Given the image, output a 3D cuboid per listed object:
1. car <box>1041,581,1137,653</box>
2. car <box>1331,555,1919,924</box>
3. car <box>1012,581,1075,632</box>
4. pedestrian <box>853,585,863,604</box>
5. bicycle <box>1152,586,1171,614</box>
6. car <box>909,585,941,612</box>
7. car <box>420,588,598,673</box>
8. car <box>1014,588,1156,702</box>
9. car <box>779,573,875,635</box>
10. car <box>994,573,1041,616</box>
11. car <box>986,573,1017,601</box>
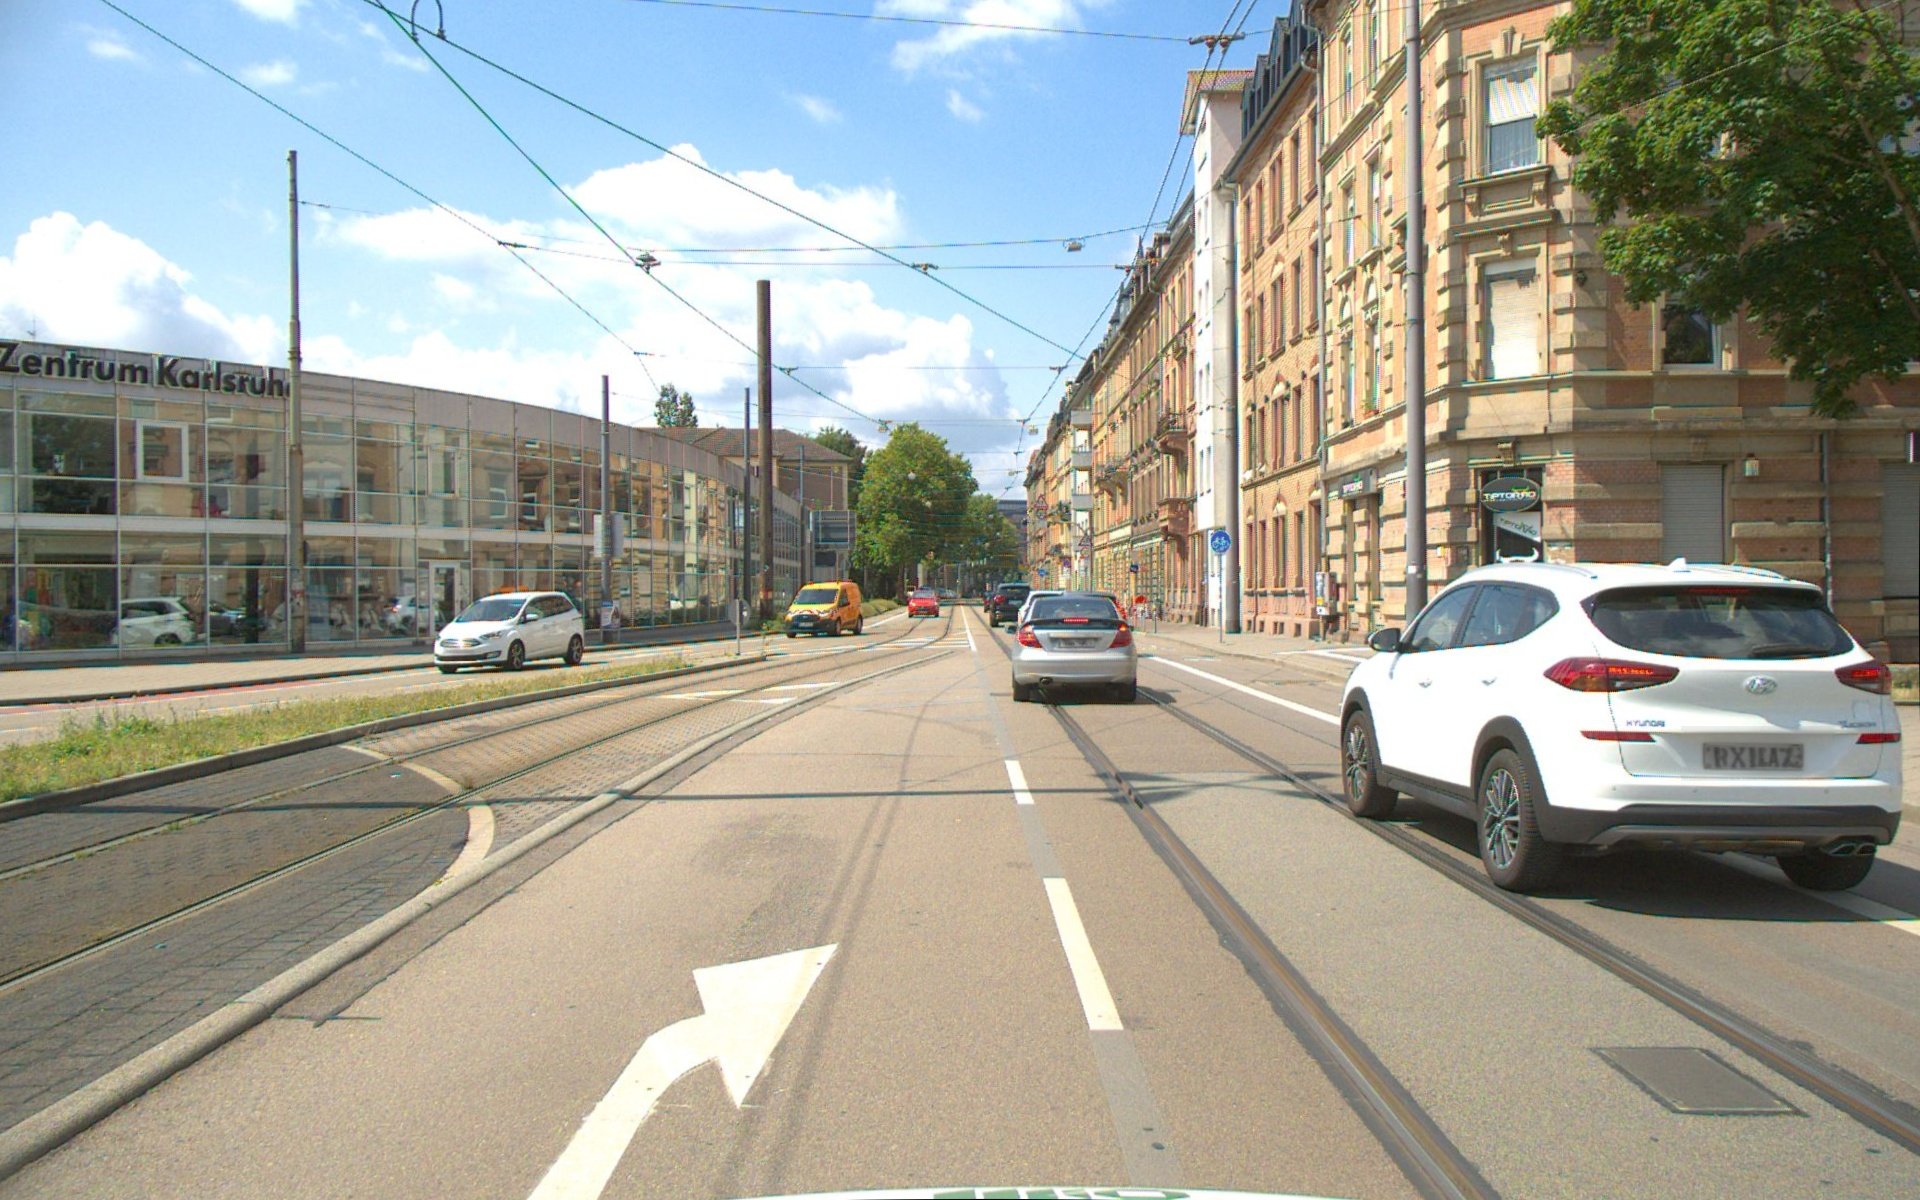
[{"bbox_3d":[2.962,0.345,38.661,1.778,1.550,4.084,-1,1,-2],"label":"car"},{"bbox_3d":[3.625,0.630,9.649,1.815,1.662,4.179,1,0,-2],"label":"car"},{"bbox_3d":[2.634,0.166,53.003,1.777,1.550,3.955,-1,1,0],"label":"car"},{"bbox_3d":[-10.291,-0.526,166.224,0.862,1.898,1.081,-2,1,0],"label":"pedestrian"},{"bbox_3d":[8.982,-0.012,73.687,0.574,1.199,2.205,-1,1,1],"label":"bicycle"},{"bbox_3d":[-1.925,-0.074,92.075,1.667,1.453,3.901,-1,0,-1],"label":"car"},{"bbox_3d":[-9.852,0.631,36.522,1.729,1.632,4.497,-2,1,14],"label":"car"},{"bbox_3d":[1.691,0.572,23.564,1.777,1.445,4.188,-1,0,1],"label":"car"},{"bbox_3d":[-4.461,0.100,56.182,1.870,1.898,4.371,-2,1,14],"label":"car"},{"bbox_3d":[2.363,-0.229,68.668,1.777,1.690,4.085,-1,0,0],"label":"car"},{"bbox_3d":[2.844,-0.936,114.401,1.953,1.892,3.999,-1,1,-1],"label":"car"}]
